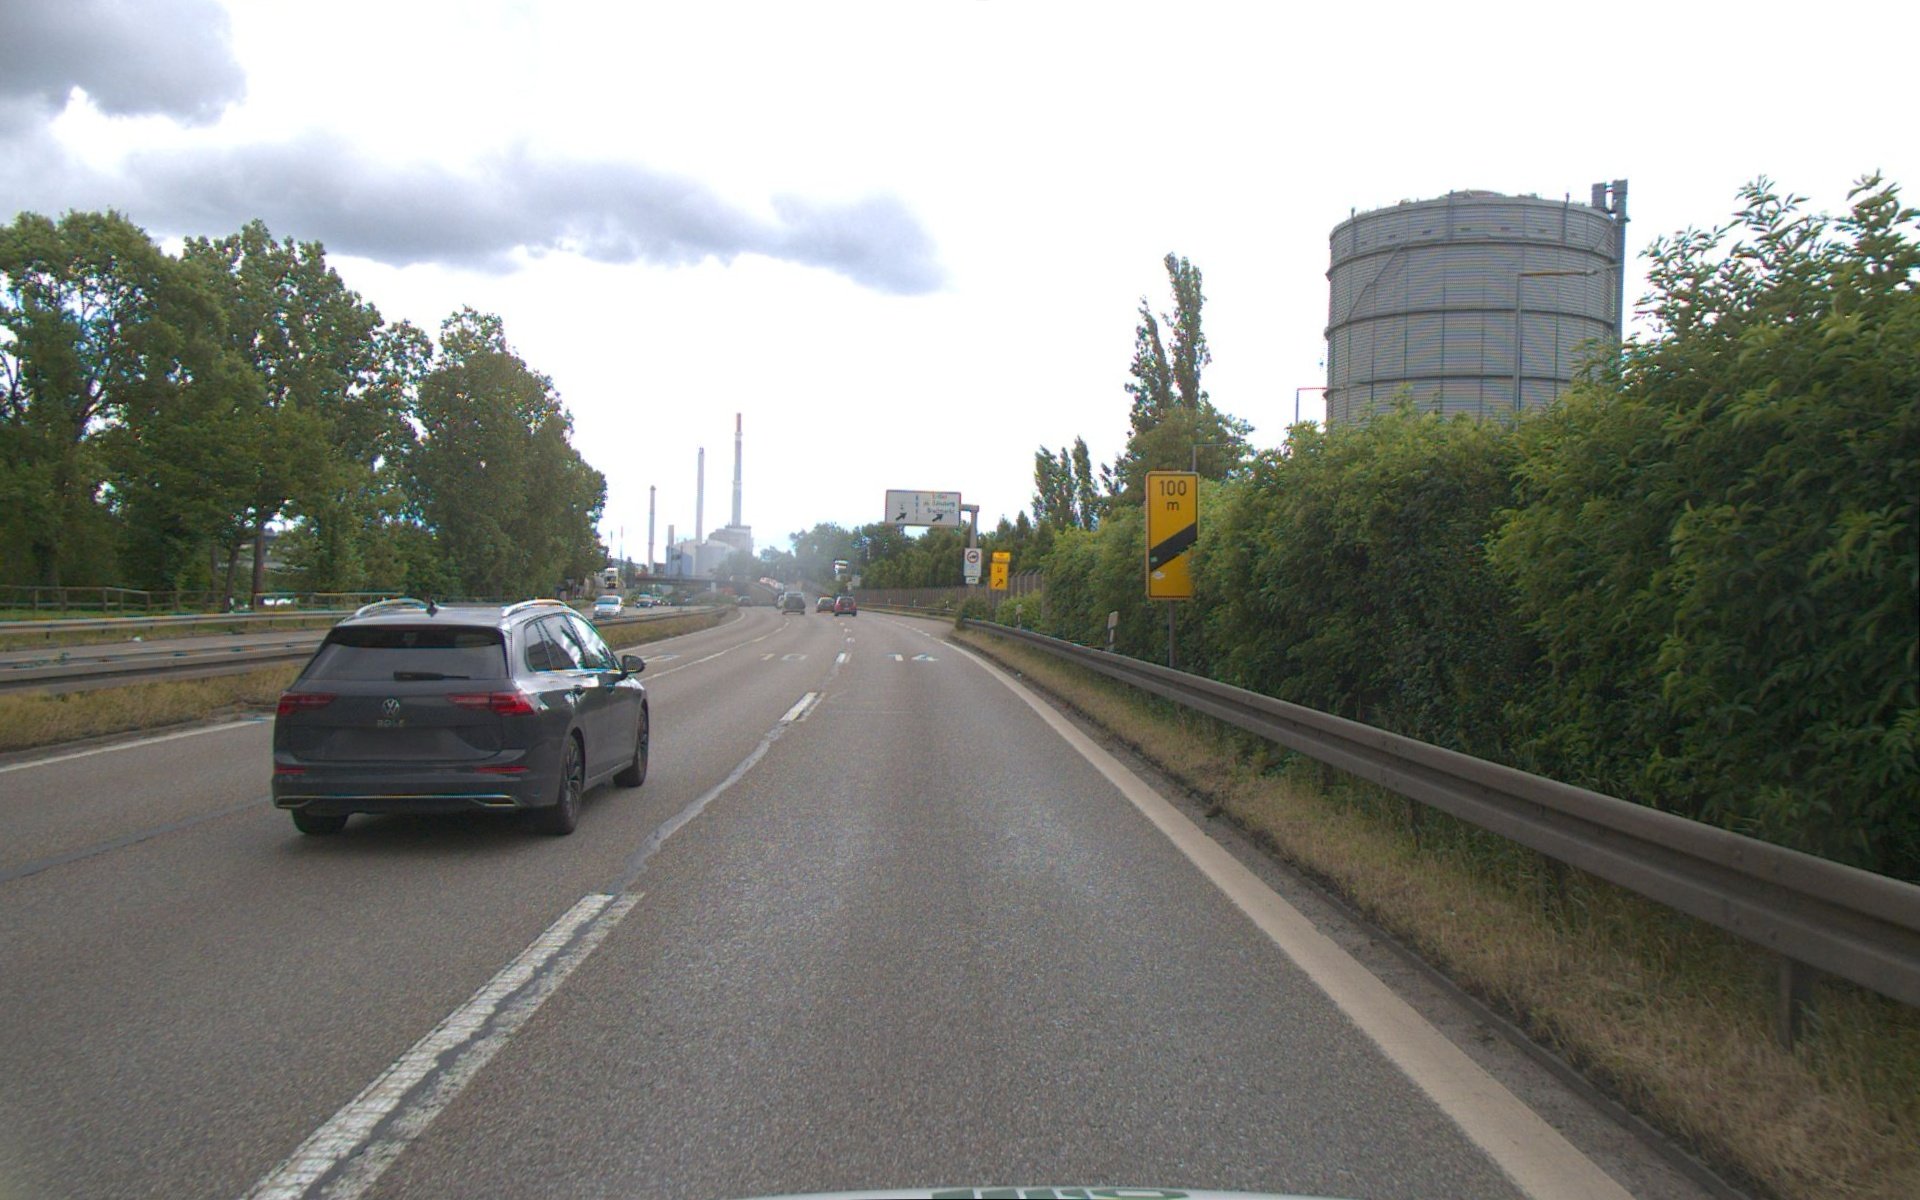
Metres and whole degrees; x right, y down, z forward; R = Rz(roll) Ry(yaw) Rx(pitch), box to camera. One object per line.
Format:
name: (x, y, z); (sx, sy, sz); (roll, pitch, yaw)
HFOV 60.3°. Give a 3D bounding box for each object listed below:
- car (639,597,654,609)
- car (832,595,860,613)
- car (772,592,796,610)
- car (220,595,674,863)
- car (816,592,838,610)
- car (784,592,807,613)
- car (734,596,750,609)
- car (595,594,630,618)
car: (-37.104, 0.357, 195.644); (1.667, 1.438, 4.627); (0, 0, -10)
car: (-9.273, 0.314, 134.286); (1.937, 1.448, 4.892); (0, 0, -8)
car: (-20.096, 0.097, 188.609); (1.980, 1.968, 4.881); (0, 0, -15)
car: (-3.304, 0.721, 11.756); (1.808, 1.448, 4.898); (2, 0, -2)
car: (-13.071, 0.083, 162.519); (1.668, 1.772, 4.380); (0, 0, -12)
car: (-14.103, 0.189, 141.577); (1.667, 1.772, 3.991); (0, 0, -10)
car: (-29.908, 0.313, 227.000); (1.669, 1.772, 4.376); (0, 0, -14)
car: (-21.120, 0.334, 100.652); (1.582, 1.410, 3.729); (1, 0, -4)
